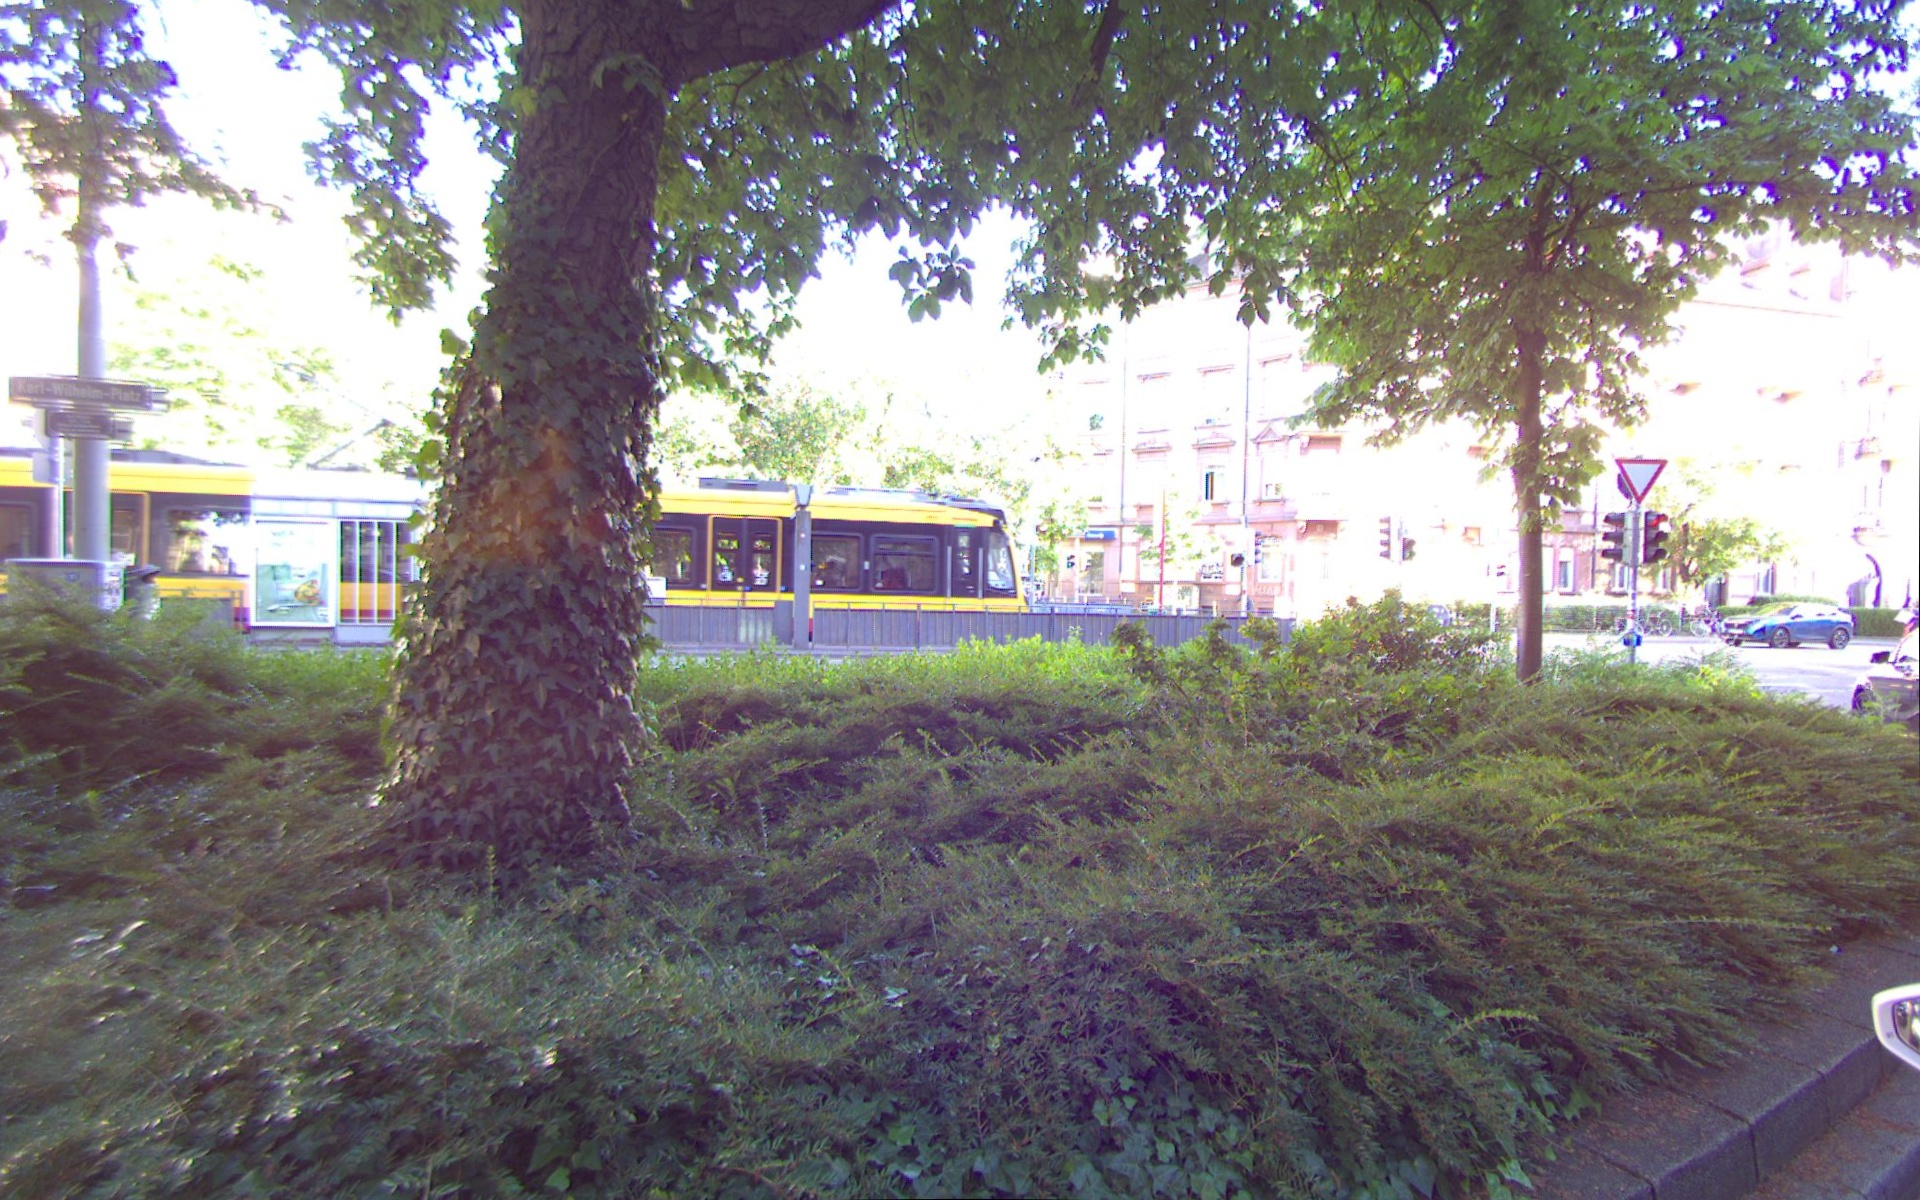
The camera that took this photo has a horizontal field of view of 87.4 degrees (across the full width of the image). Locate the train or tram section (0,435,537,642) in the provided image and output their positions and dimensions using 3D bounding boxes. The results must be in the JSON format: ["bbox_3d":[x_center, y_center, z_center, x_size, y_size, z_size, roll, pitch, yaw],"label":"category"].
[{"bbox_3d":[-15.307,-1.142,20.118,12.206,3.635,2.779,1,1,-13],"label":"train or tram section"}]

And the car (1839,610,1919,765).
[{"bbox_3d":[10.770,0.891,10.262,1.762,1.562,3.855,0,0,27],"label":"car"}]

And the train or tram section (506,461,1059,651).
[{"bbox_3d":[-3.743,-0.845,22.843,11.598,3.668,2.793,1,1,-13],"label":"train or tram section"}]

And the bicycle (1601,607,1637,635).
[{"bbox_3d":[27.702,0.875,42.225,1.210,1.122,0.442,2,2,-7],"label":"bicycle"}]

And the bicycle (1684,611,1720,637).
[{"bbox_3d":[31.595,1.013,42.770,1.211,1.052,0.442,1,2,-8],"label":"bicycle"}]

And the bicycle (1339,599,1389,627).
[{"bbox_3d":[17.587,0.560,43.736,1.928,1.122,0.443,3,2,22],"label":"bicycle"}]

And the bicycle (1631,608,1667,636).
[{"bbox_3d":[29.067,0.933,42.379,1.210,1.122,0.442,1,2,-7],"label":"bicycle"}]

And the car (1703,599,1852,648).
[{"bbox_3d":[29.976,0.855,36.873,4.333,1.672,1.944,1,1,-12],"label":"car"}]
